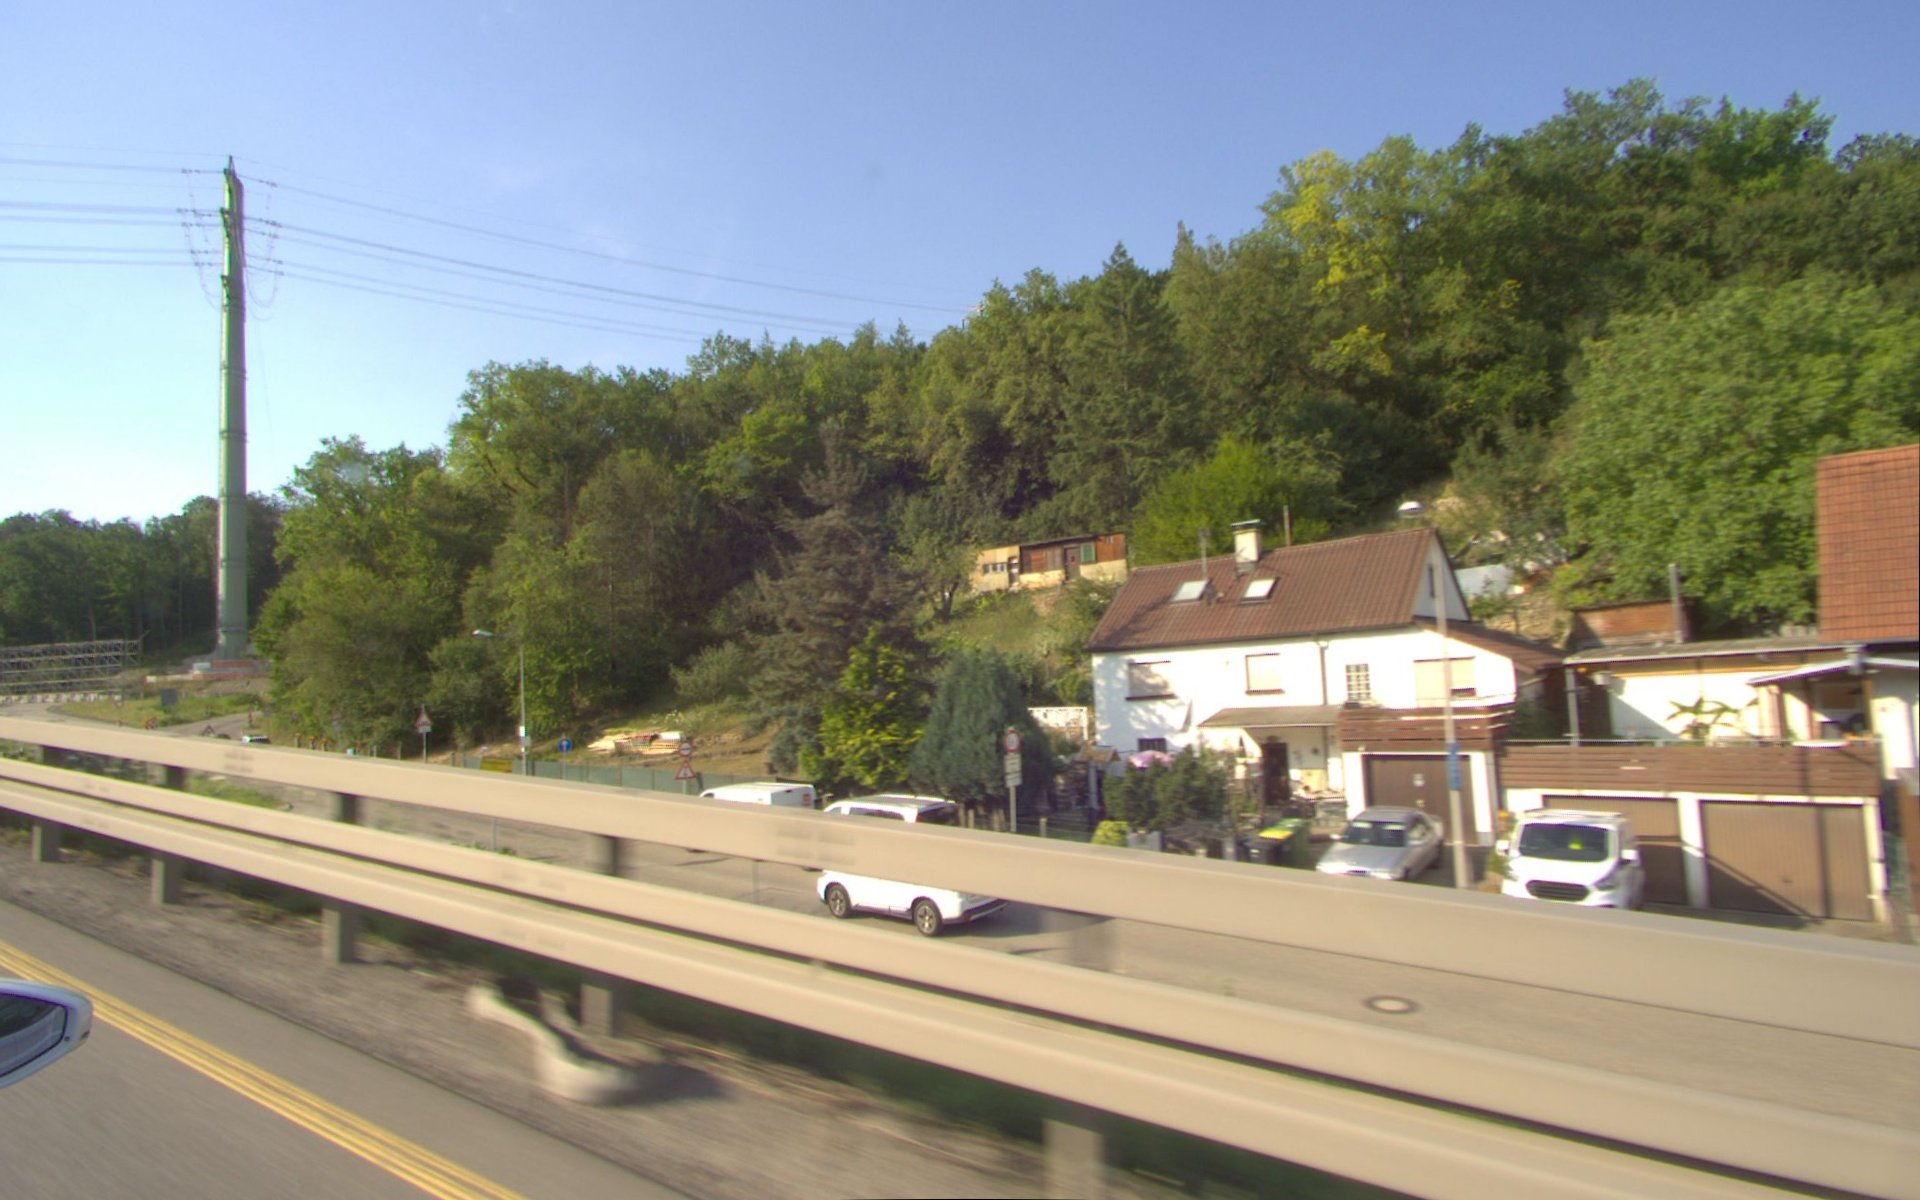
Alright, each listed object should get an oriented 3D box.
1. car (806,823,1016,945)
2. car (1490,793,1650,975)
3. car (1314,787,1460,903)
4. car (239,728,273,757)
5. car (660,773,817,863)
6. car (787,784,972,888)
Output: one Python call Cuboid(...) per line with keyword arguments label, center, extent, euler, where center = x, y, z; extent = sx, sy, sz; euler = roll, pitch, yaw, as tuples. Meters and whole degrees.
Cuboid(label="car", center=(-1.111, 5.825, 20.985), extent=(4.421, 1.682, 1.661), euler=(-5, -3, 40))
Cuboid(label="car", center=(12.068, 5.302, 19.609), extent=(1.976, 2.291, 5.448), euler=(-4, -4, 38))
Cuboid(label="car", center=(9.603, 5.295, 22.271), extent=(1.695, 1.575, 5.072), euler=(-4, -4, 38))
Cuboid(label="car", center=(-46.888, 9.467, 66.657), extent=(1.514, 1.479, 4.233), euler=(0, -2, -40))
Cuboid(label="car", center=(-6.681, 6.404, 29.908), extent=(4.995, 2.010, 1.854), euler=(-5, -3, 39))
Cuboid(label="car", center=(-2.167, 5.999, 25.994), extent=(4.812, 1.940, 1.986), euler=(-5, -3, 42))
